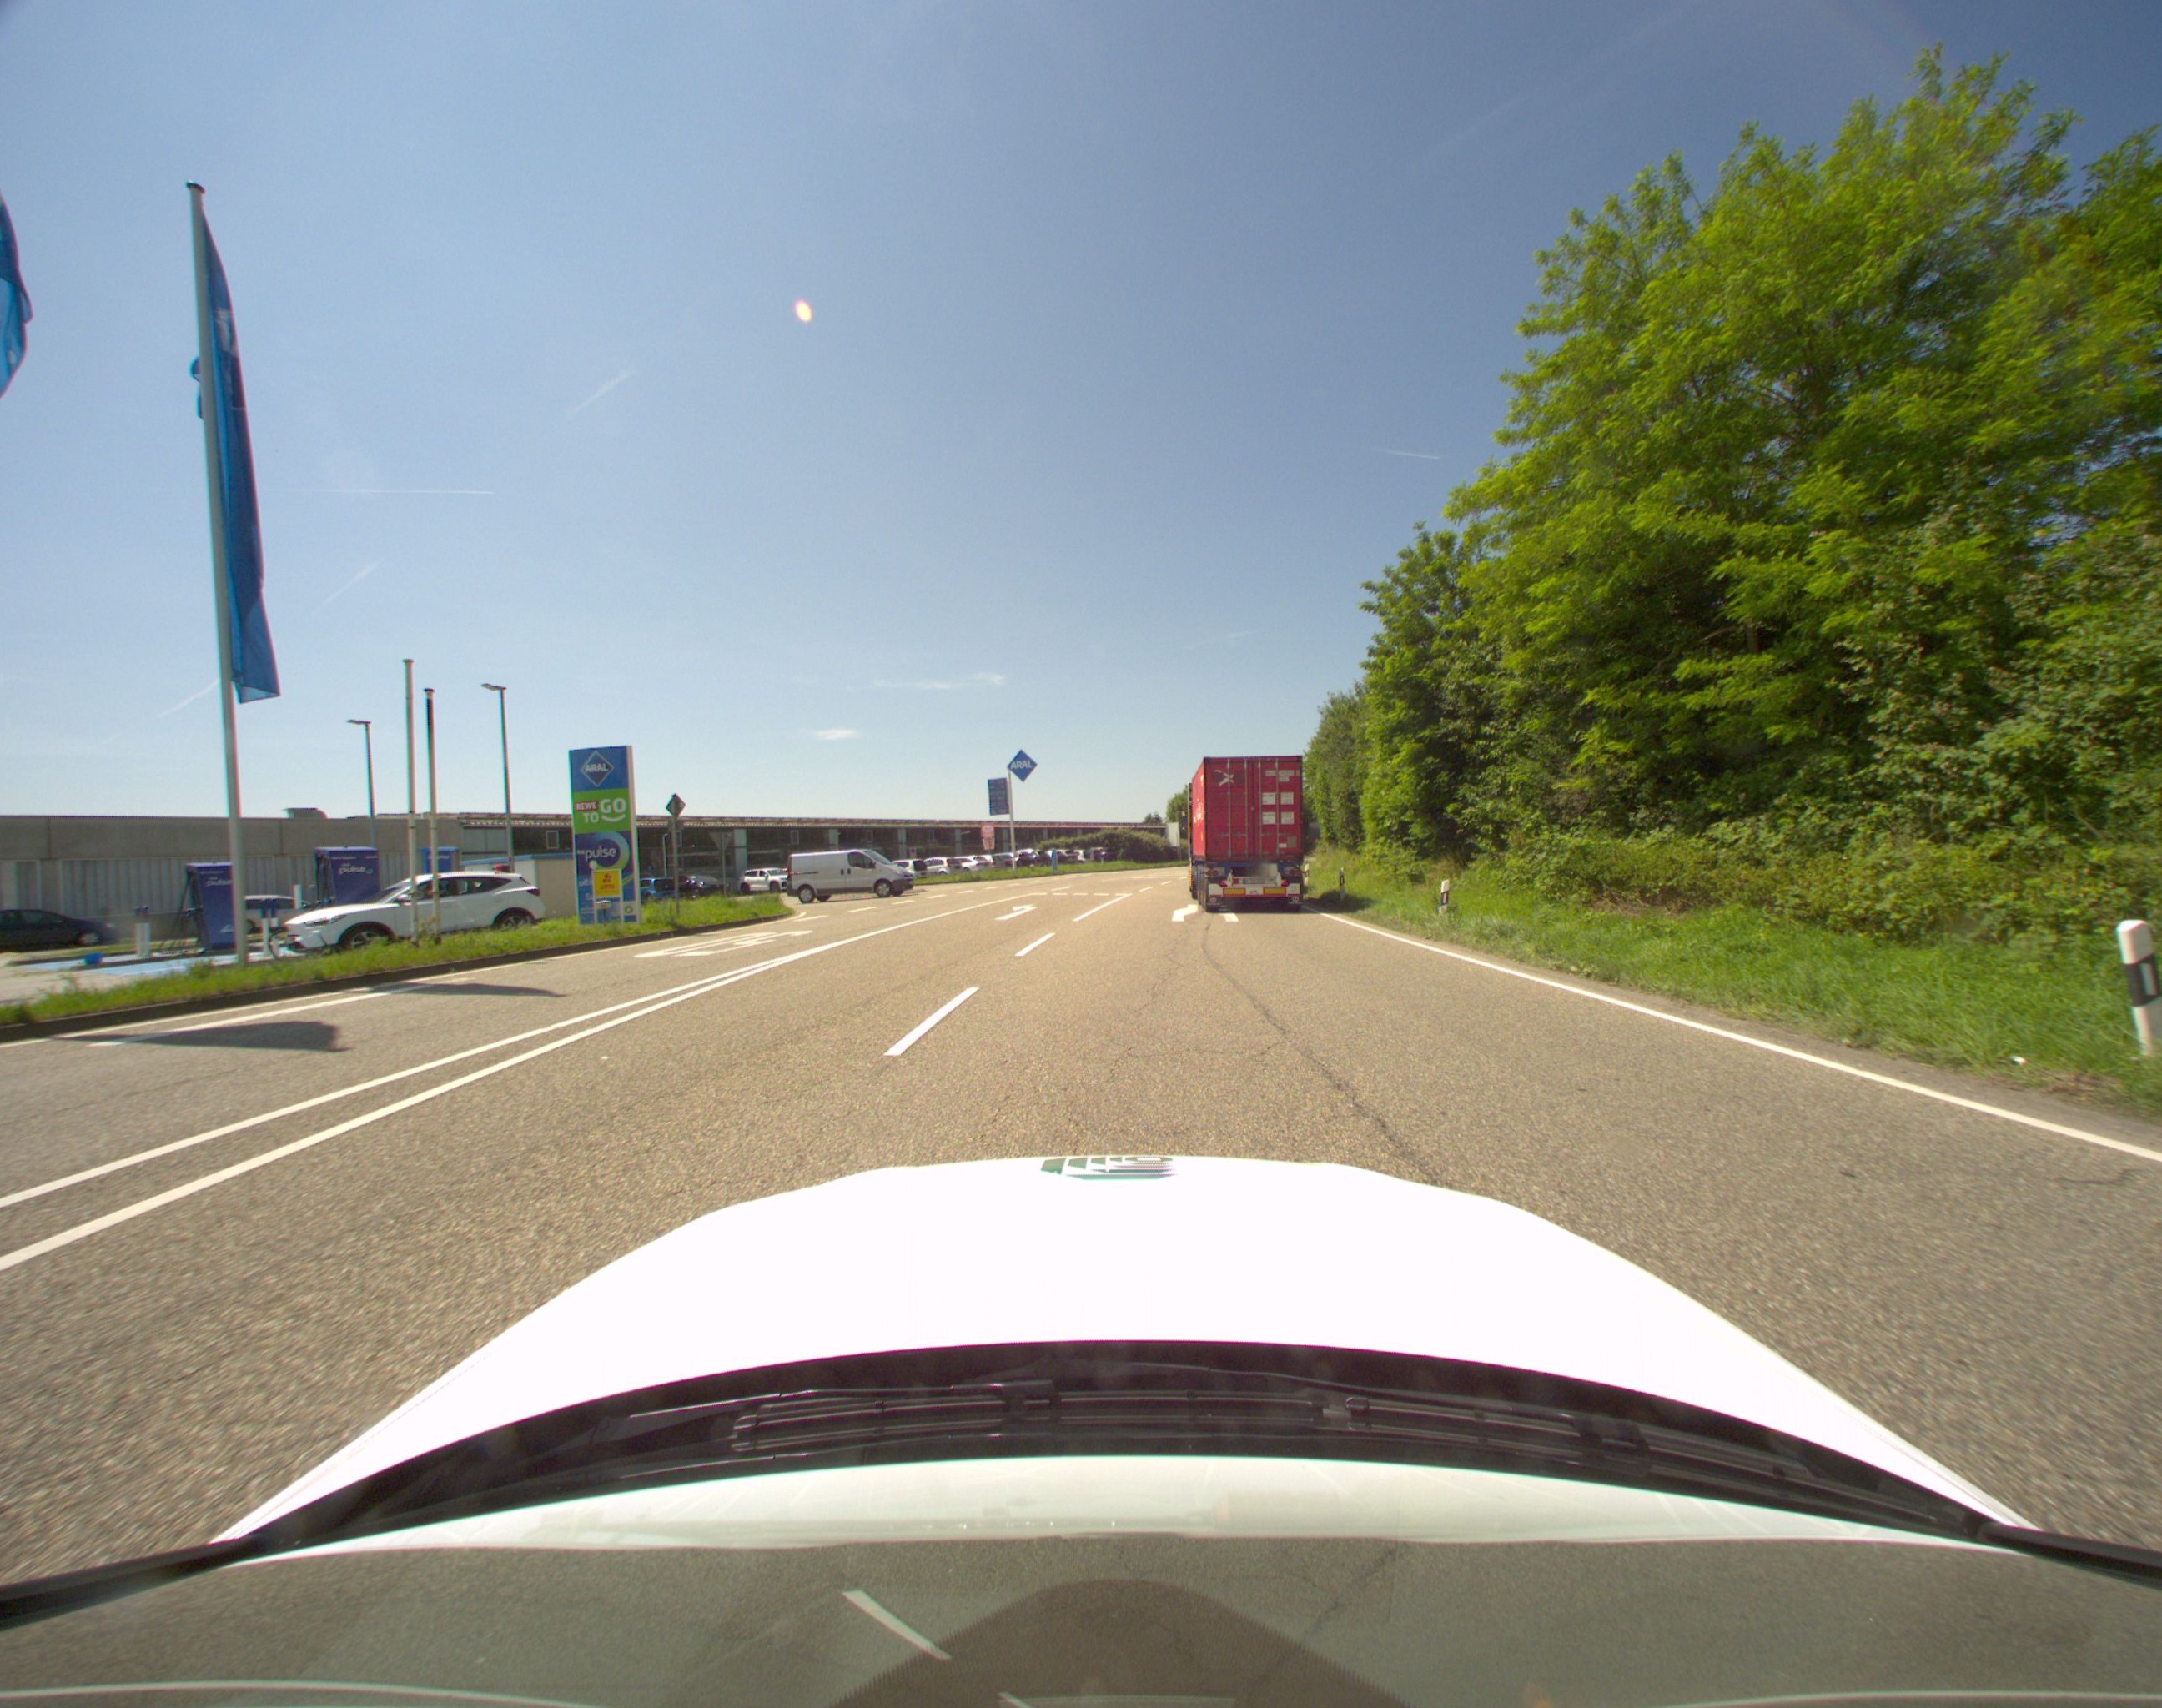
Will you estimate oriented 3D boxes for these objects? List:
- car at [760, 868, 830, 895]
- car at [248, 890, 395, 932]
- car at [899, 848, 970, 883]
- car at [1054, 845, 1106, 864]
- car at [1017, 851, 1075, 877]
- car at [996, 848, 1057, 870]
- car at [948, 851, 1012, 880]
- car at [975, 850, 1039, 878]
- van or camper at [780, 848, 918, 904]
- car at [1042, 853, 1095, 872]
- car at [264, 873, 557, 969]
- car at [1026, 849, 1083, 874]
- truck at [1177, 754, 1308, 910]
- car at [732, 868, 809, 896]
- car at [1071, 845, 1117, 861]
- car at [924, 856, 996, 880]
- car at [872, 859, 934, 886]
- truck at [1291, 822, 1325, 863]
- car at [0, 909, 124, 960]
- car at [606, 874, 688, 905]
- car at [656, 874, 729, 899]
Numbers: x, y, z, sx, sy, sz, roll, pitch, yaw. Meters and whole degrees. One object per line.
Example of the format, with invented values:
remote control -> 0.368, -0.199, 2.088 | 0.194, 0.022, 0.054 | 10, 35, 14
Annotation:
car -> -19.002, 1.807, 54.166 | 4.085, 1.503, 2.012 | -4, -1, 26
car -> -31.754, 2.356, 34.182 | 1.894, 1.428, 4.129 | -2, 0, 31
car -> -9.329, 0.747, 51.784 | 3.949, 2.013, 2.012 | -3, 0, 27
car -> -0.052, 0.003, 69.473 | 3.950, 1.362, 1.831 | -4, -1, 26
car -> -2.691, 0.744, 62.663 | 3.949, 1.750, 2.012 | -4, -1, 29
car -> -4.021, 0.354, 59.791 | 3.949, 1.332, 2.012 | -4, -1, 29
car -> -6.970, 0.798, 56.158 | 3.949, 1.750, 1.947 | -3, 0, 29
car -> -5.232, 0.732, 57.486 | 3.949, 1.750, 2.012 | -3, 0, 29
van or camper -> -9.163, 0.868, 32.461 | 4.828, 1.905, 1.905 | -3, -1, 2
car -> -1.025, 0.687, 67.531 | 3.950, 1.317, 1.844 | -4, -1, 26
car -> -14.272, 1.322, 17.642 | 1.844, 1.712, 4.548 | -2, -1, 33
car -> -2.116, 0.615, 65.346 | 3.949, 1.750, 2.012 | -4, -1, 29
truck -> 4.731, -0.569, 26.585 | 2.635, 3.806, 13.376 | 0, 0, 5
car -> -19.875, 1.782, 52.121 | 4.536, 1.503, 2.012 | -4, -1, 26
car -> 1.134, -0.078, 71.654 | 3.661, 1.373, 1.815 | 1, 1, 29
car -> -7.994, 0.927, 53.736 | 4.197, 1.359, 2.012 | -3, 0, 27
car -> -10.894, 1.125, 49.859 | 3.411, 1.441, 1.573 | -3, 0, 26
truck -> 23.333, -1.185, 83.287 | 2.899, 3.717, 13.418 | -3, 0, 17
car -> -35.644, 2.746, 27.558 | 1.737, 1.442, 3.924 | -3, 0, 28
car -> -24.111, 1.984, 45.222 | 3.950, 1.530, 2.012 | -2, 0, 27
car -> -22.555, 1.865, 47.249 | 3.949, 1.246, 1.781 | -3, 0, 27
